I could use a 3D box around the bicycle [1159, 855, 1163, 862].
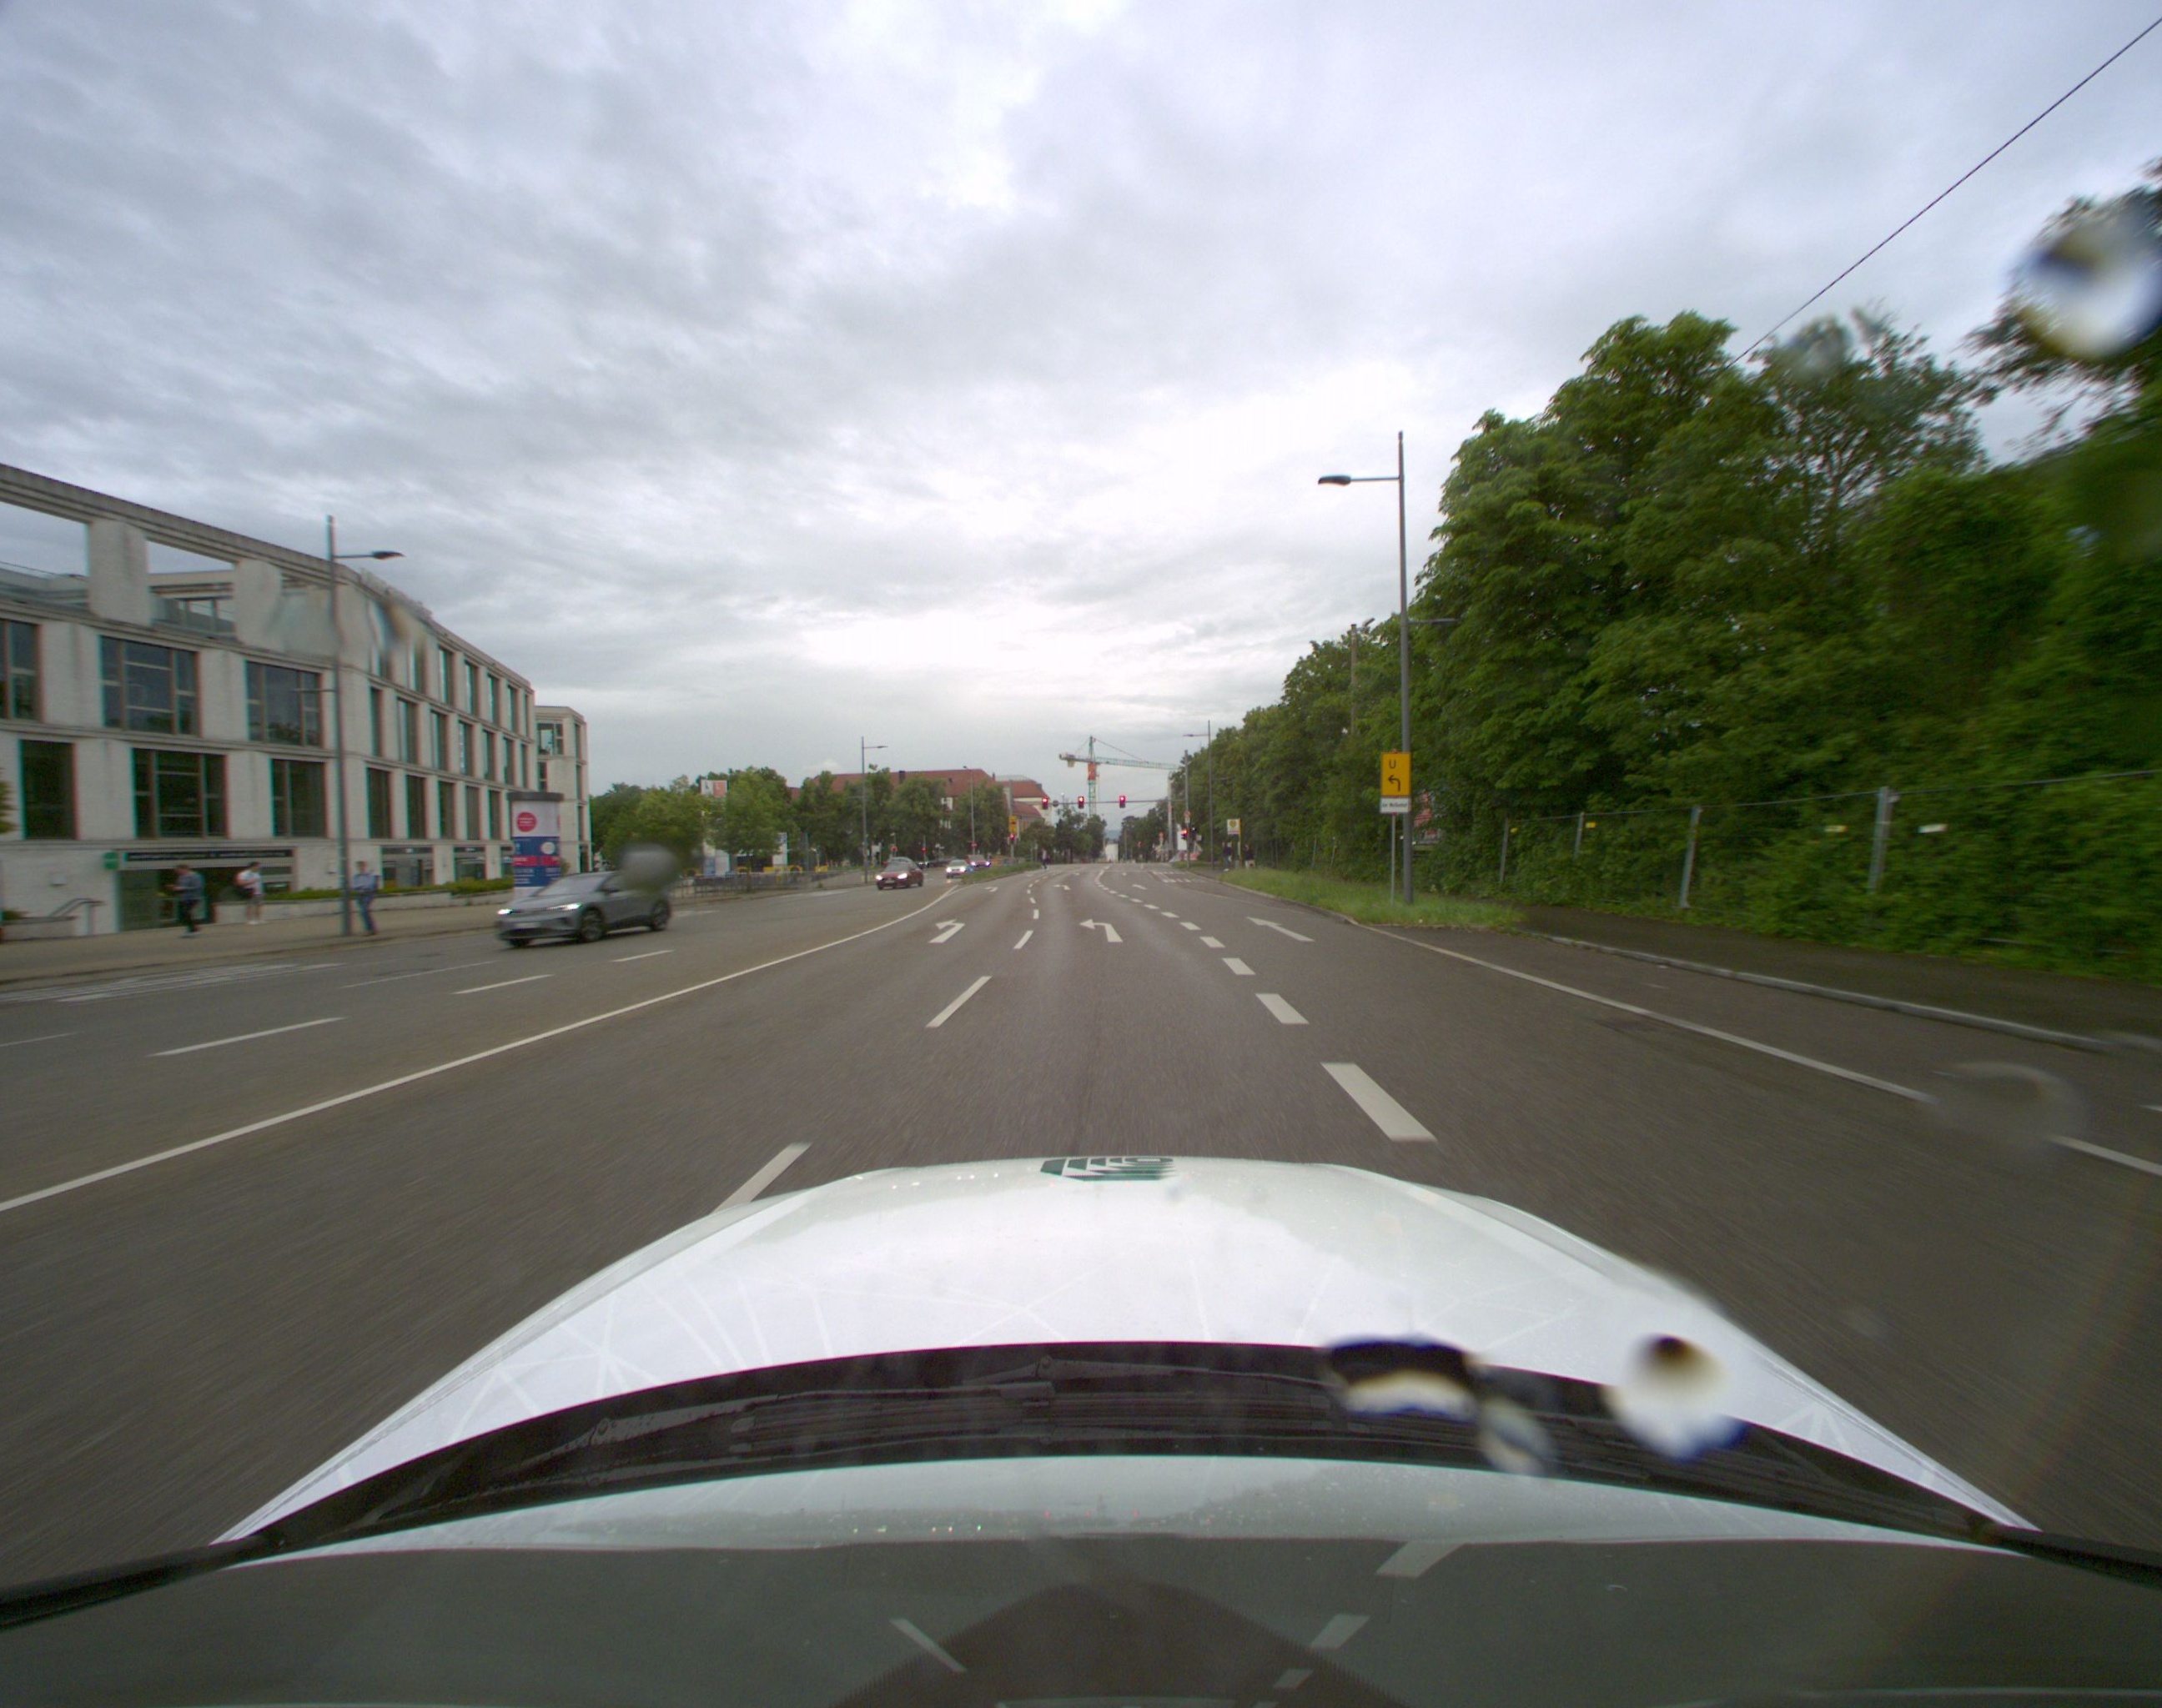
[{"bbox_3d":[14.613,0.773,148.642,0.717,1.193,1.758,0,-1,4],"label":"bicycle"}]

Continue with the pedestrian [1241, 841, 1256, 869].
[{"bbox_3d":[10.245,0.071,49.745,0.674,1.658,0.792,-2,0,-3],"label":"pedestrian"}]

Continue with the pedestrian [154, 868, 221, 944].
[{"bbox_3d":[-21.499,1.222,19.611,0.595,1.762,0.858,-1,0,5],"label":"pedestrian"}]

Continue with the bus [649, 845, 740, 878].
[{"bbox_3d":[-42.741,0.792,90.243,8.515,3.307,2.899,-2,0,2],"label":"bus"}]

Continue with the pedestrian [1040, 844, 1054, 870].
[{"bbox_3d":[-2.809,0.234,67.341,0.935,2.013,0.849,-4,0,8],"label":"pedestrian"}]

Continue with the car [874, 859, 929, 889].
[{"bbox_3d":[-10.092,1.105,46.072,1.824,1.416,4.469,-4,0,3],"label":"car"}]

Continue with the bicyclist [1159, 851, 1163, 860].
[{"bbox_3d":[14.614,0.324,148.641,0.717,1.564,1.144,0,-1,4],"label":"bicyclist"}]

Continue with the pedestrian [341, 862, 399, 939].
[{"bbox_3d":[-17.551,1.131,20.115,0.749,1.842,0.747,-1,0,5],"label":"pedestrian"}]

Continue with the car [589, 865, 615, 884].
[{"bbox_3d":[-46.795,2.020,79.618,1.782,1.731,3.967,-2,0,-25],"label":"car"}]

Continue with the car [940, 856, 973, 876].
[{"bbox_3d":[-9.814,0.917,64.569,1.755,1.416,3.881,-4,0,3],"label":"car"}]

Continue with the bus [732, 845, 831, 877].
[{"bbox_3d":[-32.880,0.770,89.511,9.681,3.103,2.901,-2,0,4],"label":"bus"}]

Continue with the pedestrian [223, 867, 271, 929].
[{"bbox_3d":[-23.506,1.211,22.961,0.498,1.690,0.911,-1,0,-14],"label":"pedestrian"}]

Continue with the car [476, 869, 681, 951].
[{"bbox_3d":[-11.828,1.239,19.620,1.824,1.572,4.596,-4,-1,3],"label":"car"}]

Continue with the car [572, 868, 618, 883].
[{"bbox_3d":[-52.216,2.295,87.562,3.952,1.425,1.669,-1,0,1],"label":"car"}]

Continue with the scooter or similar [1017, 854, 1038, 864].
[{"bbox_3d":[-8.417,0.785,127.702,3.077,1.440,0.949,-2,0,0],"label":"scooter or similar"}]

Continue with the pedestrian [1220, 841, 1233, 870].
[{"bbox_3d":[9.729,0.100,54.346,0.639,1.901,0.718,-2,0,-3],"label":"pedestrian"}]

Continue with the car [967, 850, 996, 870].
[{"bbox_3d":[-9.313,0.567,76.408,1.846,1.683,4.741,-4,0,3],"label":"car"}]
